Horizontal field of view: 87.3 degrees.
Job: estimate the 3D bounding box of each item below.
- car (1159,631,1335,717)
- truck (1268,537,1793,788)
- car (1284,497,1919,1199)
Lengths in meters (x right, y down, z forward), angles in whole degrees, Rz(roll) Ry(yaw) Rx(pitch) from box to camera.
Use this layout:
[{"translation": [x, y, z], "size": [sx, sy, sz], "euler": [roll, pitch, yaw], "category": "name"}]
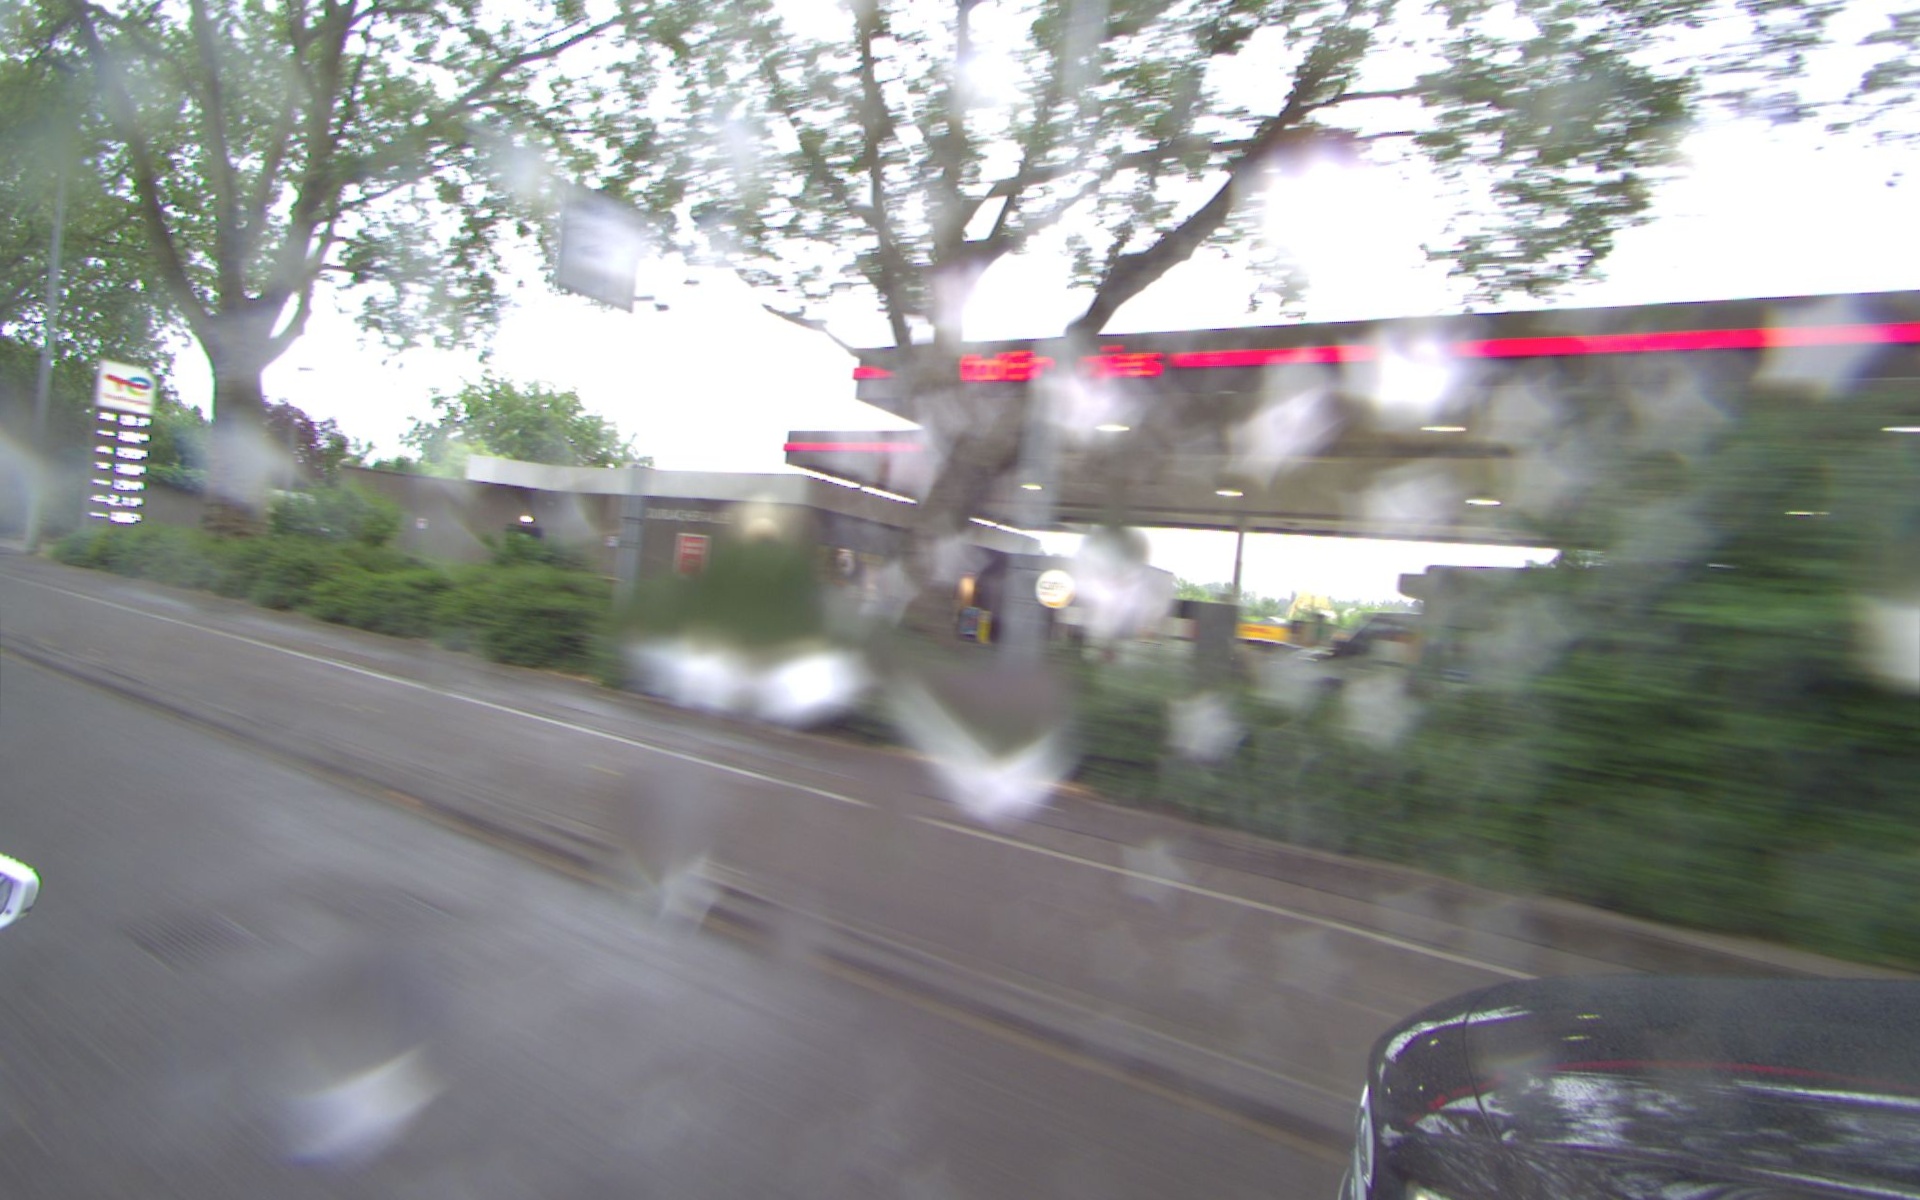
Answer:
[{"translation": [7.313, 1.877, 25.697], "size": [3.815, 1.611, 1.832], "euler": [7, -2, 32], "category": "car"}, {"translation": [10.086, 0.983, 18.695], "size": [7.638, 3.391, 2.700], "euler": [7, -1, 30], "category": "truck"}, {"translation": [2.759, 1.043, 1.037], "size": [4.347, 1.548, 1.820], "euler": [11, 1, 31], "category": "car"}]
